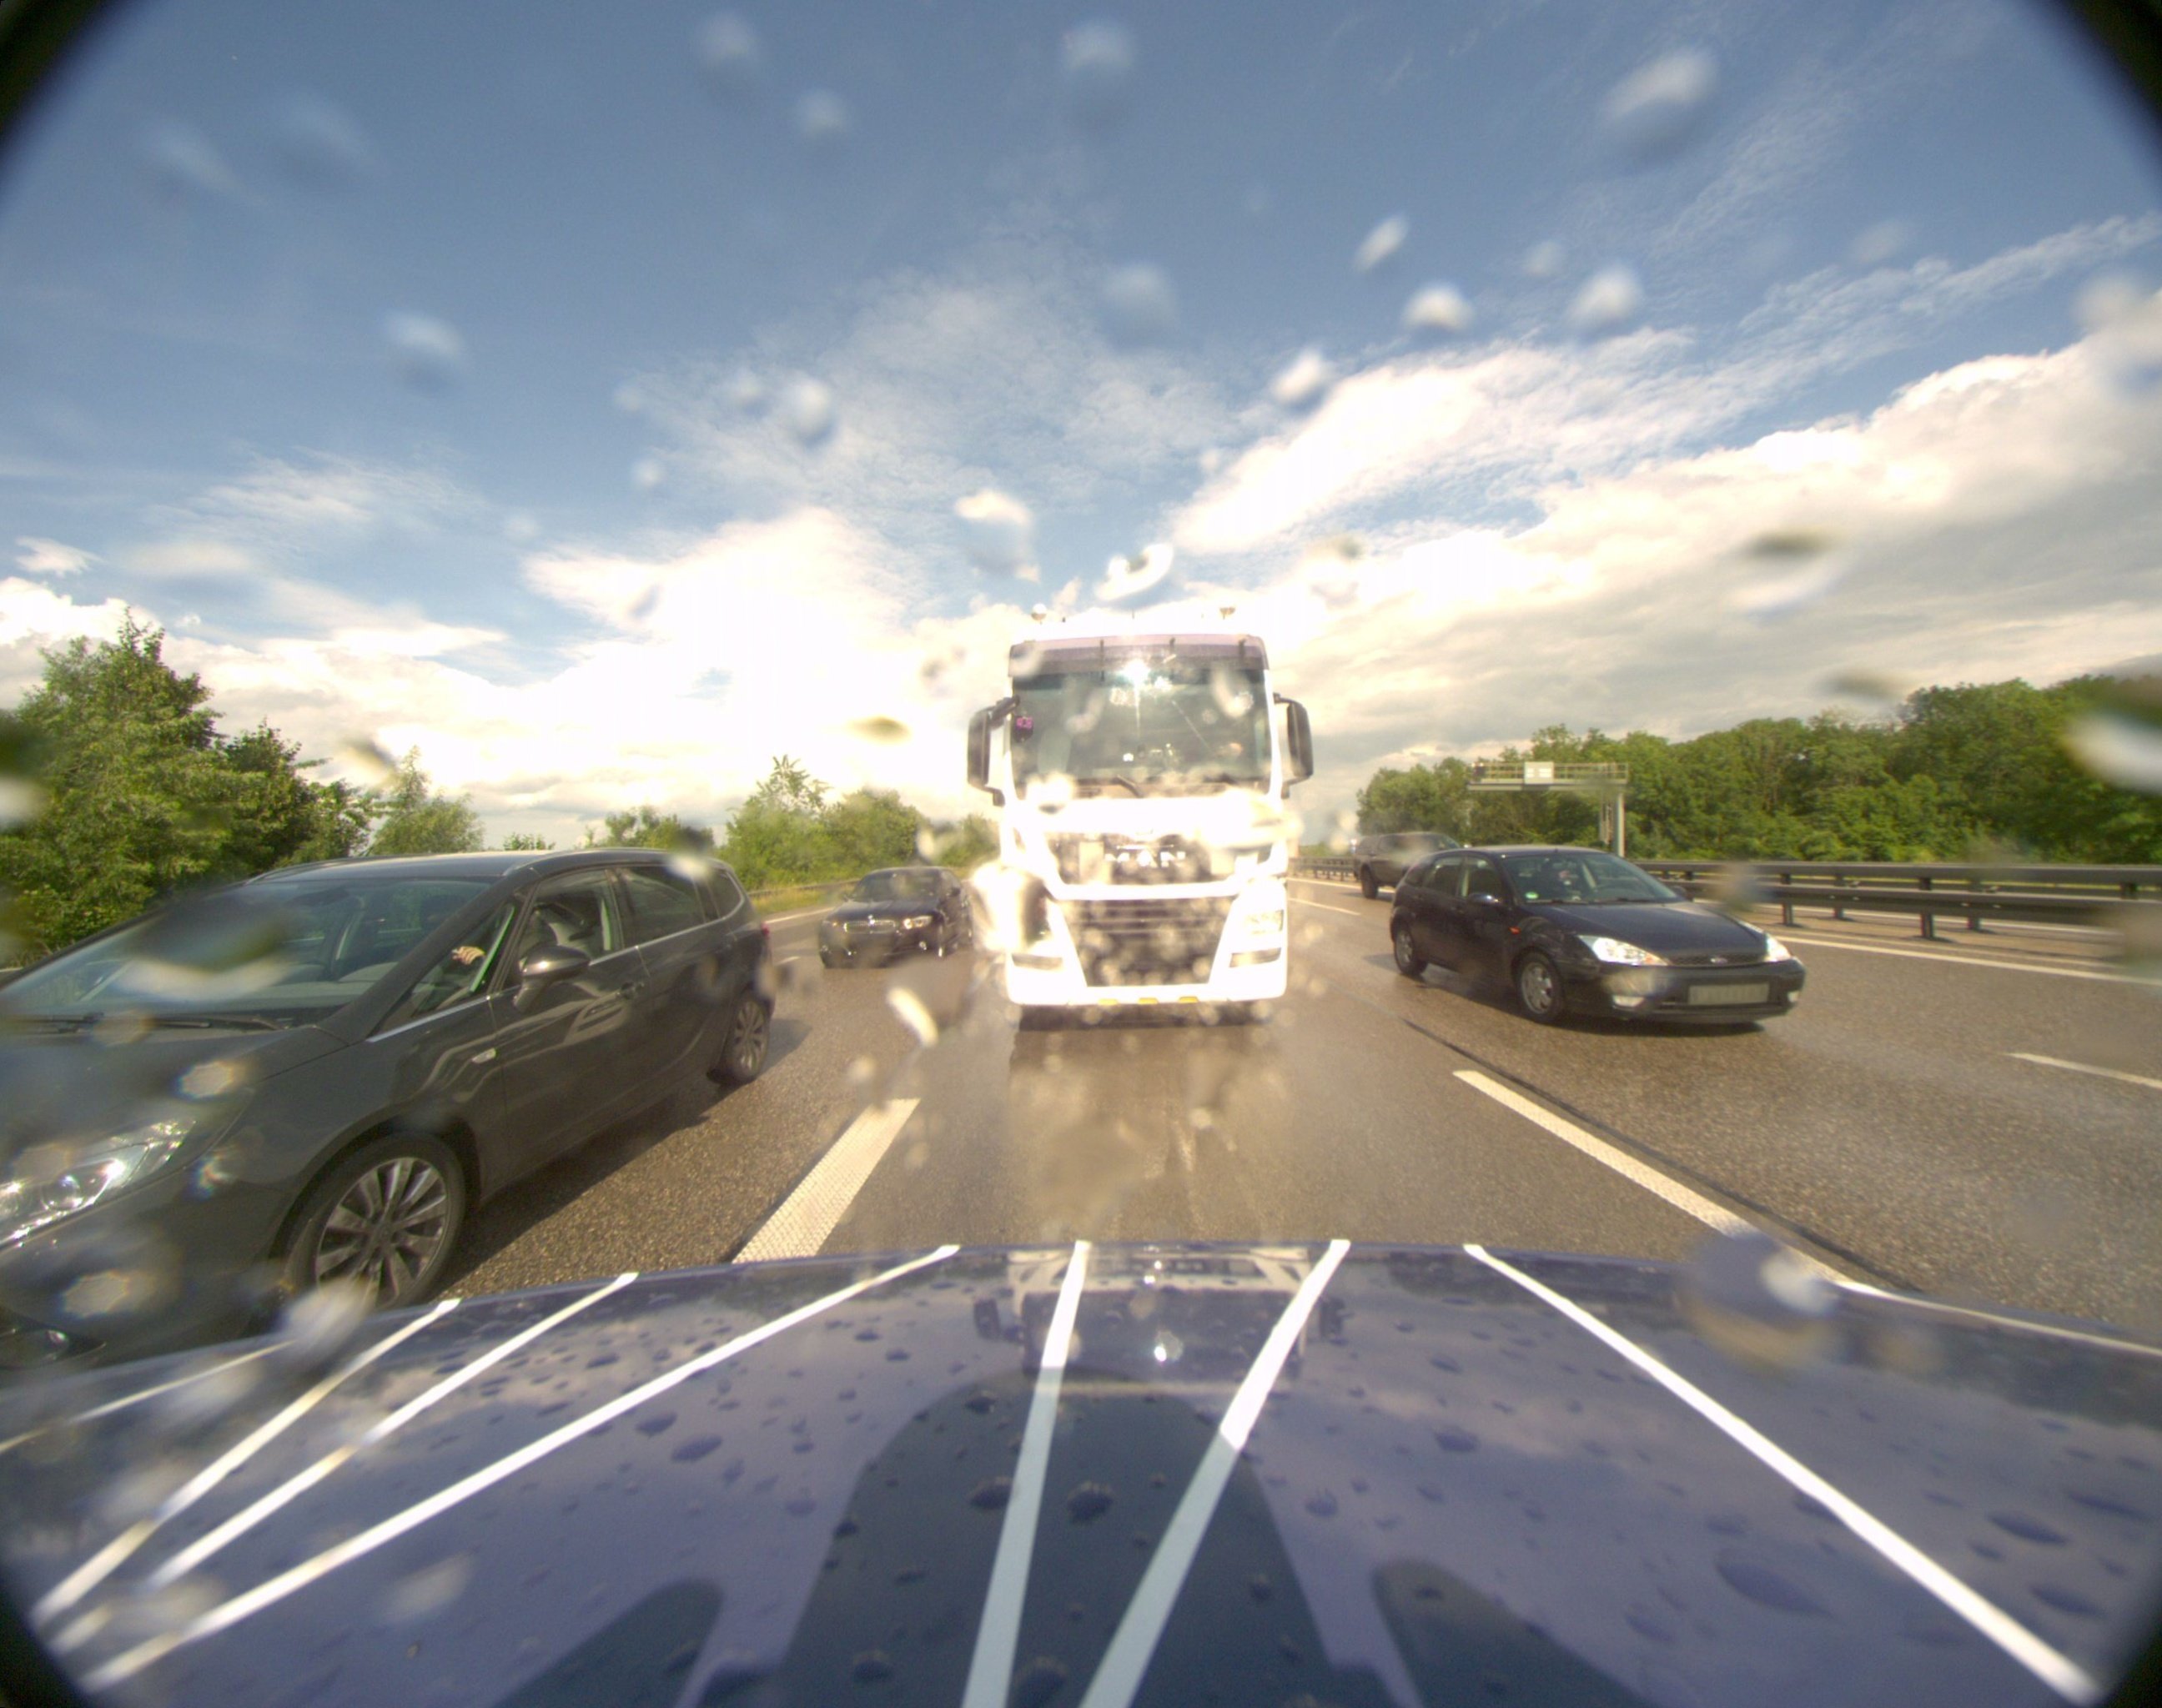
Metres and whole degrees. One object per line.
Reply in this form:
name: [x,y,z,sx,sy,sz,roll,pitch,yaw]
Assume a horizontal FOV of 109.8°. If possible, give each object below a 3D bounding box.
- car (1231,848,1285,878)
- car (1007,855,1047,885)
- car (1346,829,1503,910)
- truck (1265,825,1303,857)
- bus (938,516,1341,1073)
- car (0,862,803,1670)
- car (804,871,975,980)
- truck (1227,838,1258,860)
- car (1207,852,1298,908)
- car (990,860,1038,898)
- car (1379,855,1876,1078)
car: [9.281,0.449,40.124,1.924,1.416,4.372,-2,1,2]
car: [-2.791,0.810,40.058,1.858,1.434,3.999,-2,1,-1]
car: [9.027,0.350,20.568,1.811,1.833,5.418,-2,0,1]
truck: [26.001,-1.677,97.893,2.799,3.861,8.919,-2,0,3]
bus: [0.486,-0.463,10.672,2.904,4.104,9.844,-2,0,0]
car: [-3.190,0.917,3.638,1.858,1.622,4.735,-2,0,1]
car: [-2.891,1.029,12.333,1.722,1.346,3.884,-2,0,0]
truck: [18.076,-0.571,85.353,1.922,2.264,8.919,-2,0,3]
car: [4.875,0.673,22.165,1.754,1.425,4.054,-2,0,1]
car: [-2.661,0.955,30.785,1.744,1.357,3.998,-2,0,-4]
car: [4.492,0.767,7.146,1.763,1.435,3.999,-2,0,0]
